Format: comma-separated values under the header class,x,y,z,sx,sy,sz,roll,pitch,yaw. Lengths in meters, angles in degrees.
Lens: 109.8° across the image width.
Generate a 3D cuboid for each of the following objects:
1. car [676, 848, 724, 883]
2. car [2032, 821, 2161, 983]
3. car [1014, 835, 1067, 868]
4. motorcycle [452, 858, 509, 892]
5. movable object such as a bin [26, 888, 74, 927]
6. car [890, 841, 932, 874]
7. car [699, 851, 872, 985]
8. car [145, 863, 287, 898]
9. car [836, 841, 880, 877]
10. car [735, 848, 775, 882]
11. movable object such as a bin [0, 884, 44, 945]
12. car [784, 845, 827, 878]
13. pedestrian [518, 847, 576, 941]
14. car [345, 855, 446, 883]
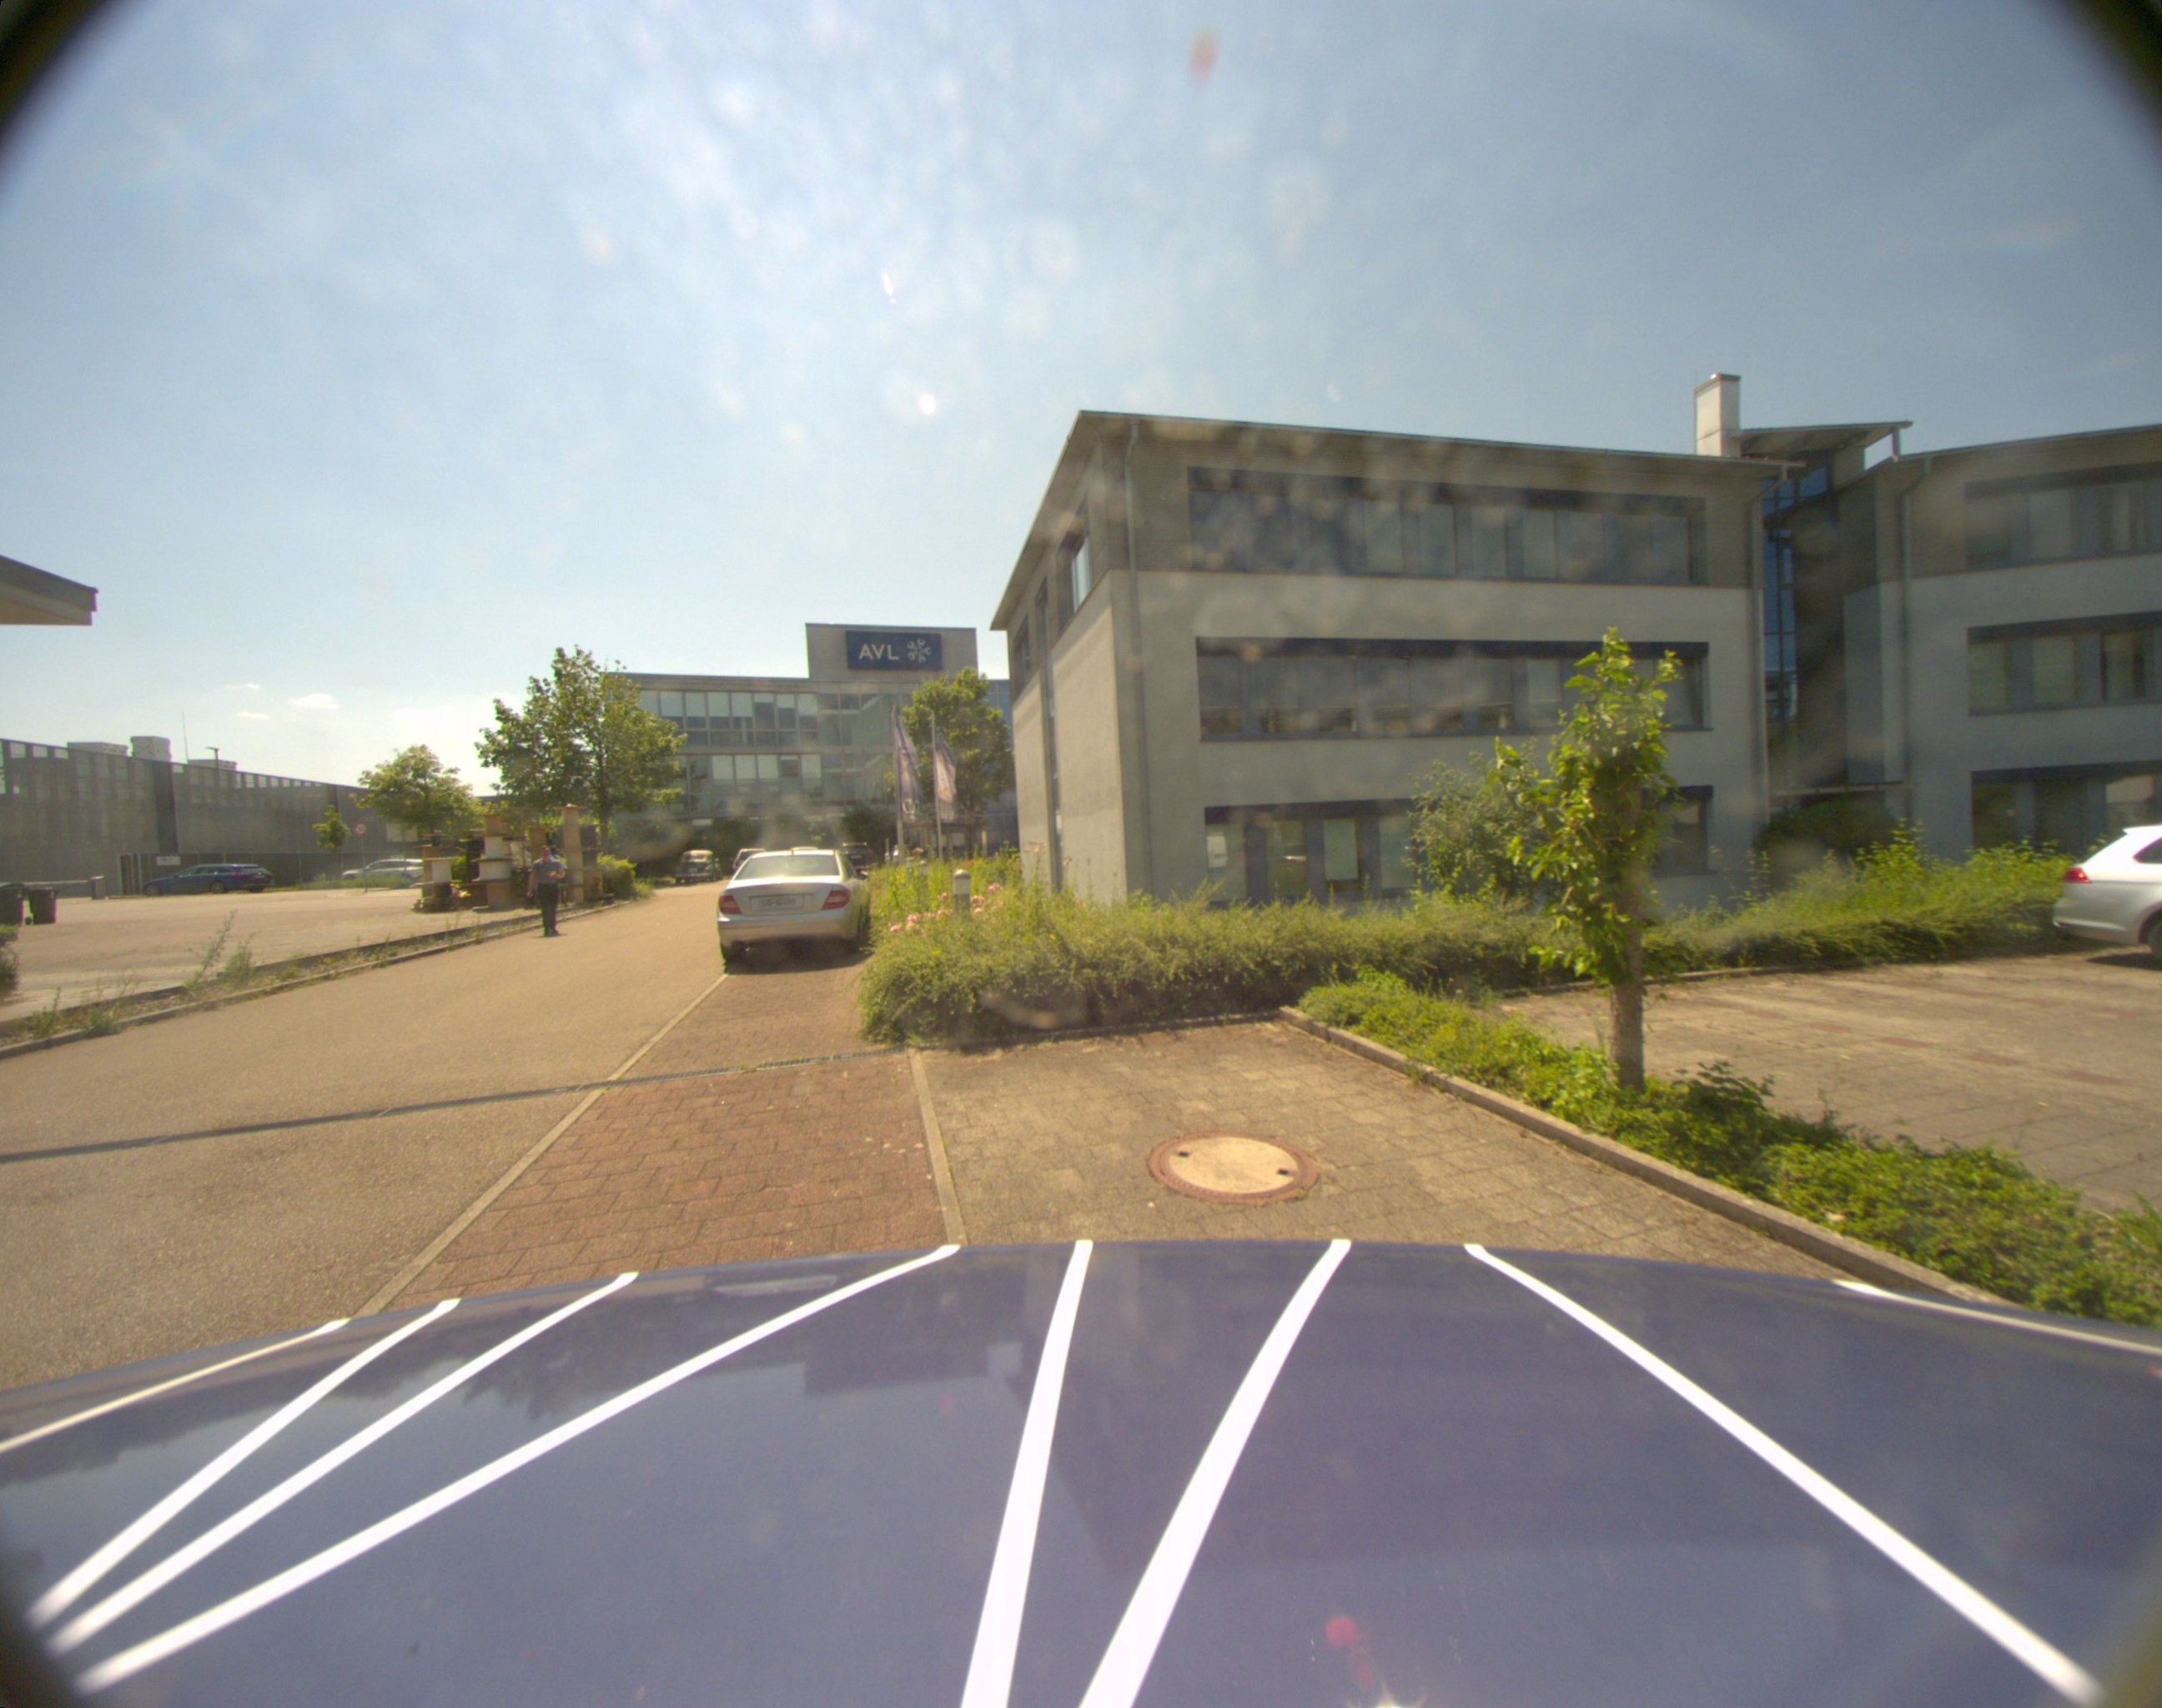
class,x,y,z,sx,sy,sz,roll,pitch,yaw
car,-17.550,0.498,35.092,1.524,1.438,3.412,-2,2,-20
car,11.297,0.433,5.923,1.864,1.464,4.477,-3,1,-17
car,-2.188,-0.158,40.373,1.834,1.628,4.164,-2,2,-17
motorcycle,-25.254,0.868,32.016,0.875,1.252,2.830,-2,2,-18
movable object such as a bin,-26.458,1.371,19.509,0.586,0.912,0.546,-4,4,-41
car,-8.630,0.125,38.328,1.732,1.476,4.390,-3,2,-16
car,-4.055,0.739,11.090,1.735,1.449,4.142,-2,2,-13
car,-41.636,1.241,36.659,4.444,1.402,1.858,-2,2,-3
car,-11.080,0.189,37.560,1.941,1.594,3.852,-2,2,-18
car,-15.409,0.458,35.930,1.645,1.444,3.592,-2,2,-23
movable object such as a bin,-23.138,1.294,16.176,0.876,1.243,0.801,-2,3,-8
car,-13.495,0.341,37.159,1.734,1.444,3.592,-2,2,-23
pedestrian,-10.629,0.766,15.124,0.810,1.759,0.766,-4,4,-38
car,-41.928,0.920,46.537,4.411,1.467,1.780,-2,2,0
